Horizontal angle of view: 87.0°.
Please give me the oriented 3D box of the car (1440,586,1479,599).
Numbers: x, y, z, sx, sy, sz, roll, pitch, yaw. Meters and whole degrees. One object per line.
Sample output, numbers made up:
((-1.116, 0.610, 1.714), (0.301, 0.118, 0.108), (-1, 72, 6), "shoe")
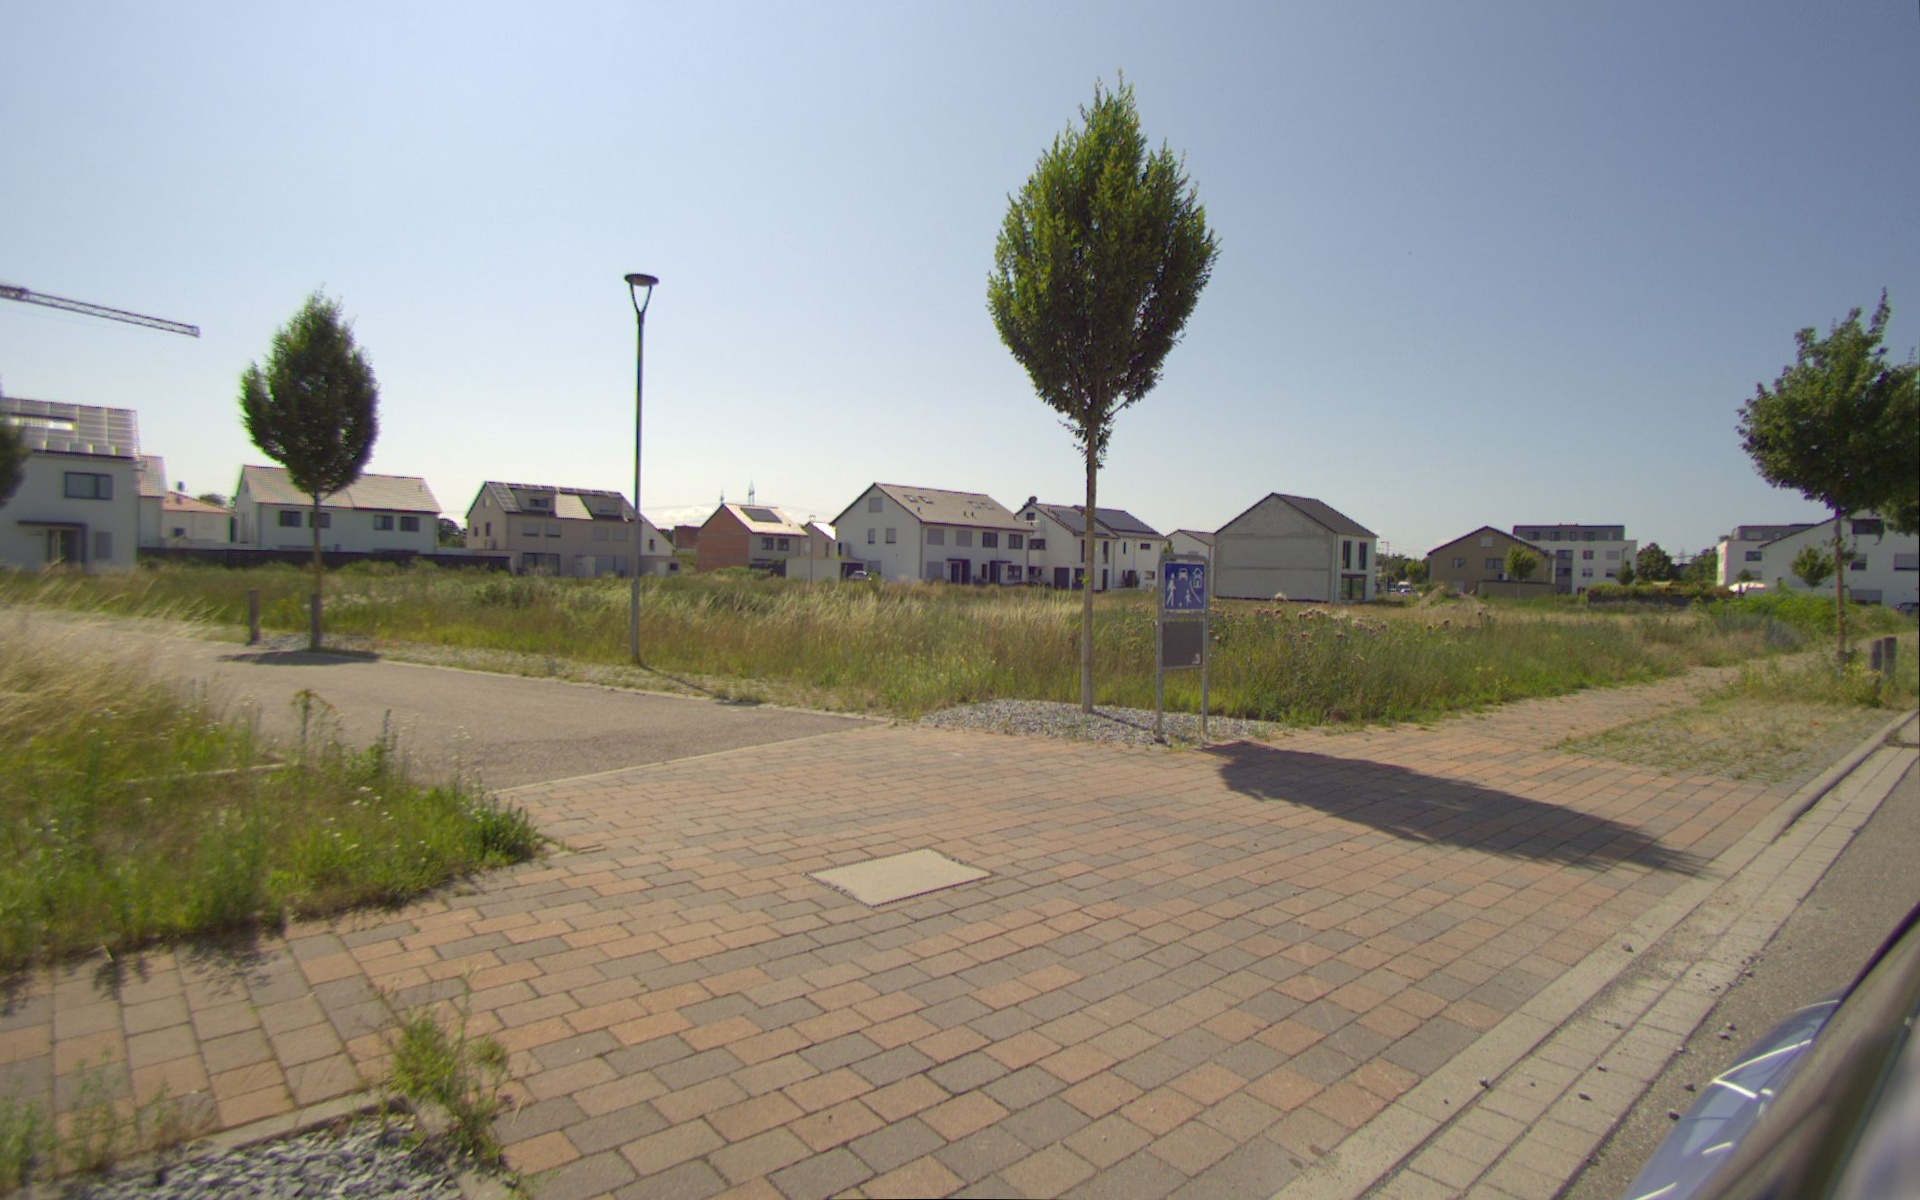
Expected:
((61.249, -0.930, 124.125), (3.982, 1.471, 1.611), (2, 1, 40), "car")
